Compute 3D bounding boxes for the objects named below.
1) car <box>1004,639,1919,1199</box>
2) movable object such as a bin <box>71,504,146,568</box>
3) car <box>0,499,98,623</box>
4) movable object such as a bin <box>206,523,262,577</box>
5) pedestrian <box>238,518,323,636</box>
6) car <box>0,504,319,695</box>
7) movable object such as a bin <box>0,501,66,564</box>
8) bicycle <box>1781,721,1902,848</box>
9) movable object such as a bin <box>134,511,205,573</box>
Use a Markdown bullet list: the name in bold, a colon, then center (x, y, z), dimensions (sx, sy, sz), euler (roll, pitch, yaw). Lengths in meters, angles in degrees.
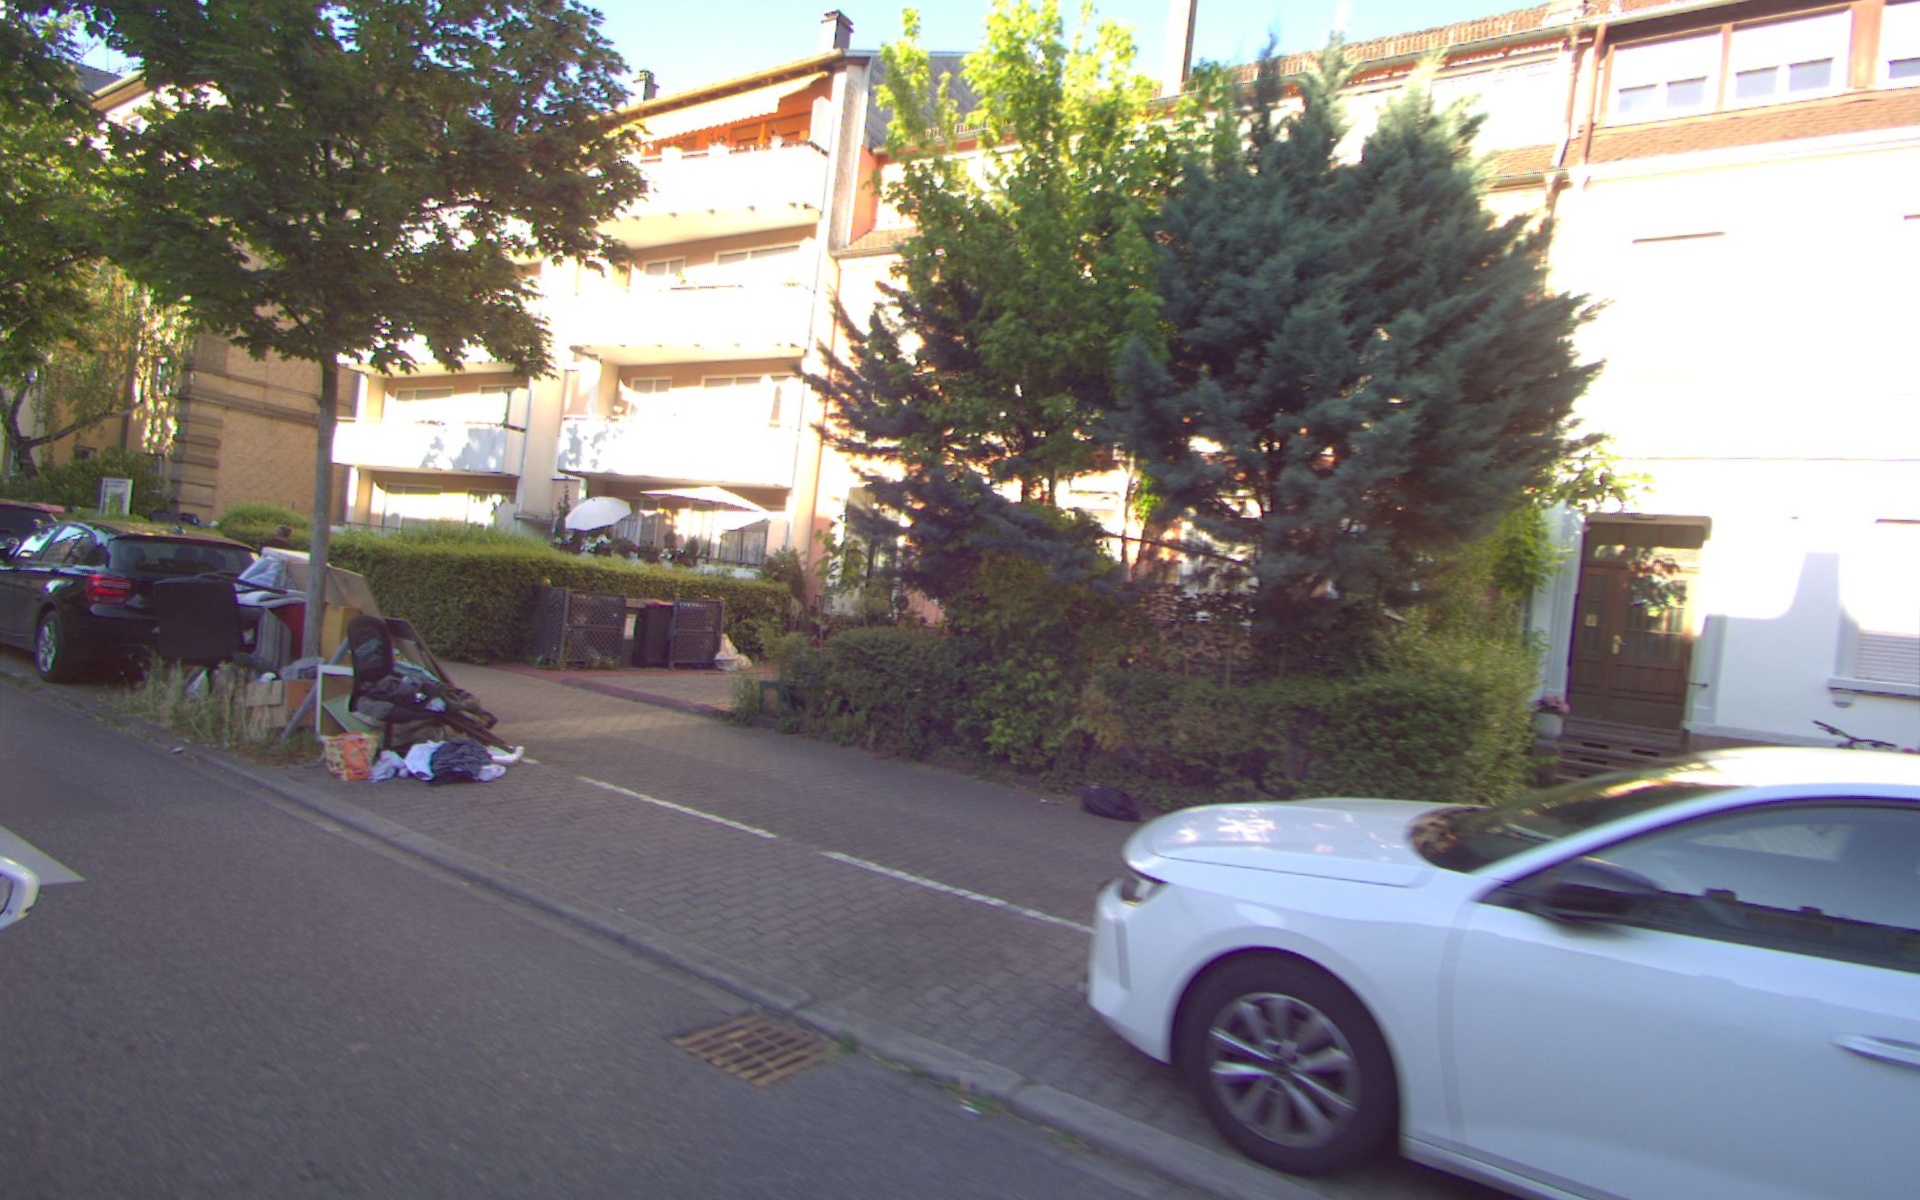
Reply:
- **car**: center (2.472, 1.093, 3.062), dimensions (4.263, 1.420, 1.763), euler (6, 0, 33)
- **movable object such as a bin**: center (-23.557, -1.755, 27.858), dimensions (0.976, 1.575, 1.158), euler (7, 0, 23)
- **car**: center (-13.813, -0.700, 13.748), dimensions (4.357, 1.490, 1.718), euler (6, 0, 31)
- **movable object such as a bin**: center (-21.753, -1.497, 30.155), dimensions (1.130, 1.459, 0.987), euler (7, 0, -29)
- **pedestrian**: center (-10.051, -0.331, 14.890), dimensions (0.570, 1.636, 0.747), euler (7, 0, 31)
- **car**: center (-8.589, -0.094, 10.188), dimensions (4.411, 1.467, 1.771), euler (6, 0, 33)
- **movable object such as a bin**: center (-24.454, -1.774, 26.482), dimensions (1.248, 1.459, 0.982), euler (7, 0, -43)
- **bicycle**: center (9.358, 1.913, 10.739), dimensions (0.658, 1.106, 1.724), euler (7, 0, 34)
- **movable object such as a bin**: center (-22.699, -1.649, 28.901), dimensions (0.976, 1.575, 1.158), euler (7, 0, 23)
